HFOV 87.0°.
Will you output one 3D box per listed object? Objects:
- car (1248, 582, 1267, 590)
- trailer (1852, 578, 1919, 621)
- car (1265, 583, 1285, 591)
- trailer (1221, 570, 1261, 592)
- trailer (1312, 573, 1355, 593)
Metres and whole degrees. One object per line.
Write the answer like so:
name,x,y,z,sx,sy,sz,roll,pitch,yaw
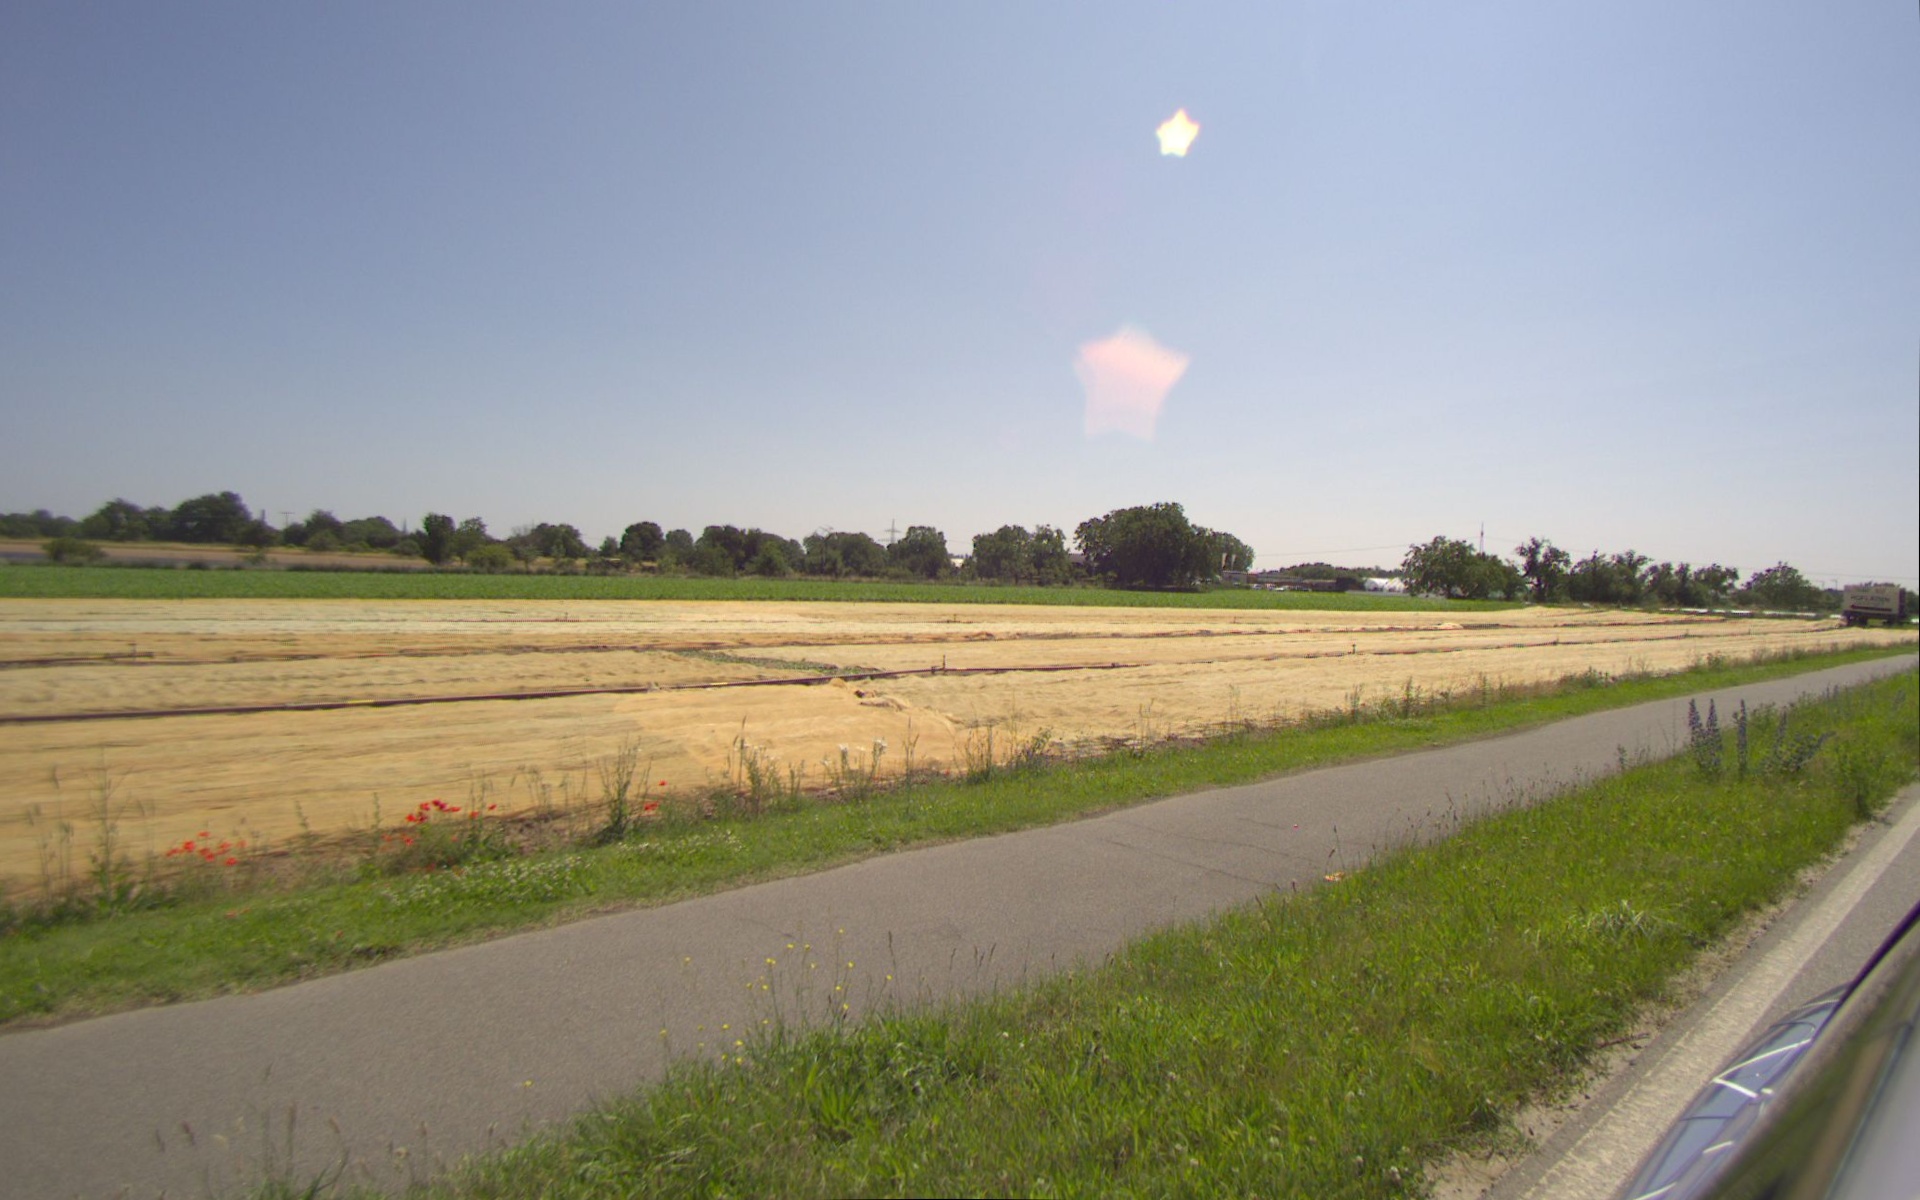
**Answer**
car,53.124,-2.532,180.783,3.211,1.212,1.299,1,1,-24
trailer,70.419,-0.085,75.609,1.958,2.988,5.309,0,3,-20
car,54.486,-2.238,174.912,3.211,1.212,1.299,1,1,-24
trailer,55.139,-3.779,198.734,3.093,4.274,7.453,0,1,-28
trailer,63.197,-2.875,171.452,3.191,3.334,7.458,1,1,-15
